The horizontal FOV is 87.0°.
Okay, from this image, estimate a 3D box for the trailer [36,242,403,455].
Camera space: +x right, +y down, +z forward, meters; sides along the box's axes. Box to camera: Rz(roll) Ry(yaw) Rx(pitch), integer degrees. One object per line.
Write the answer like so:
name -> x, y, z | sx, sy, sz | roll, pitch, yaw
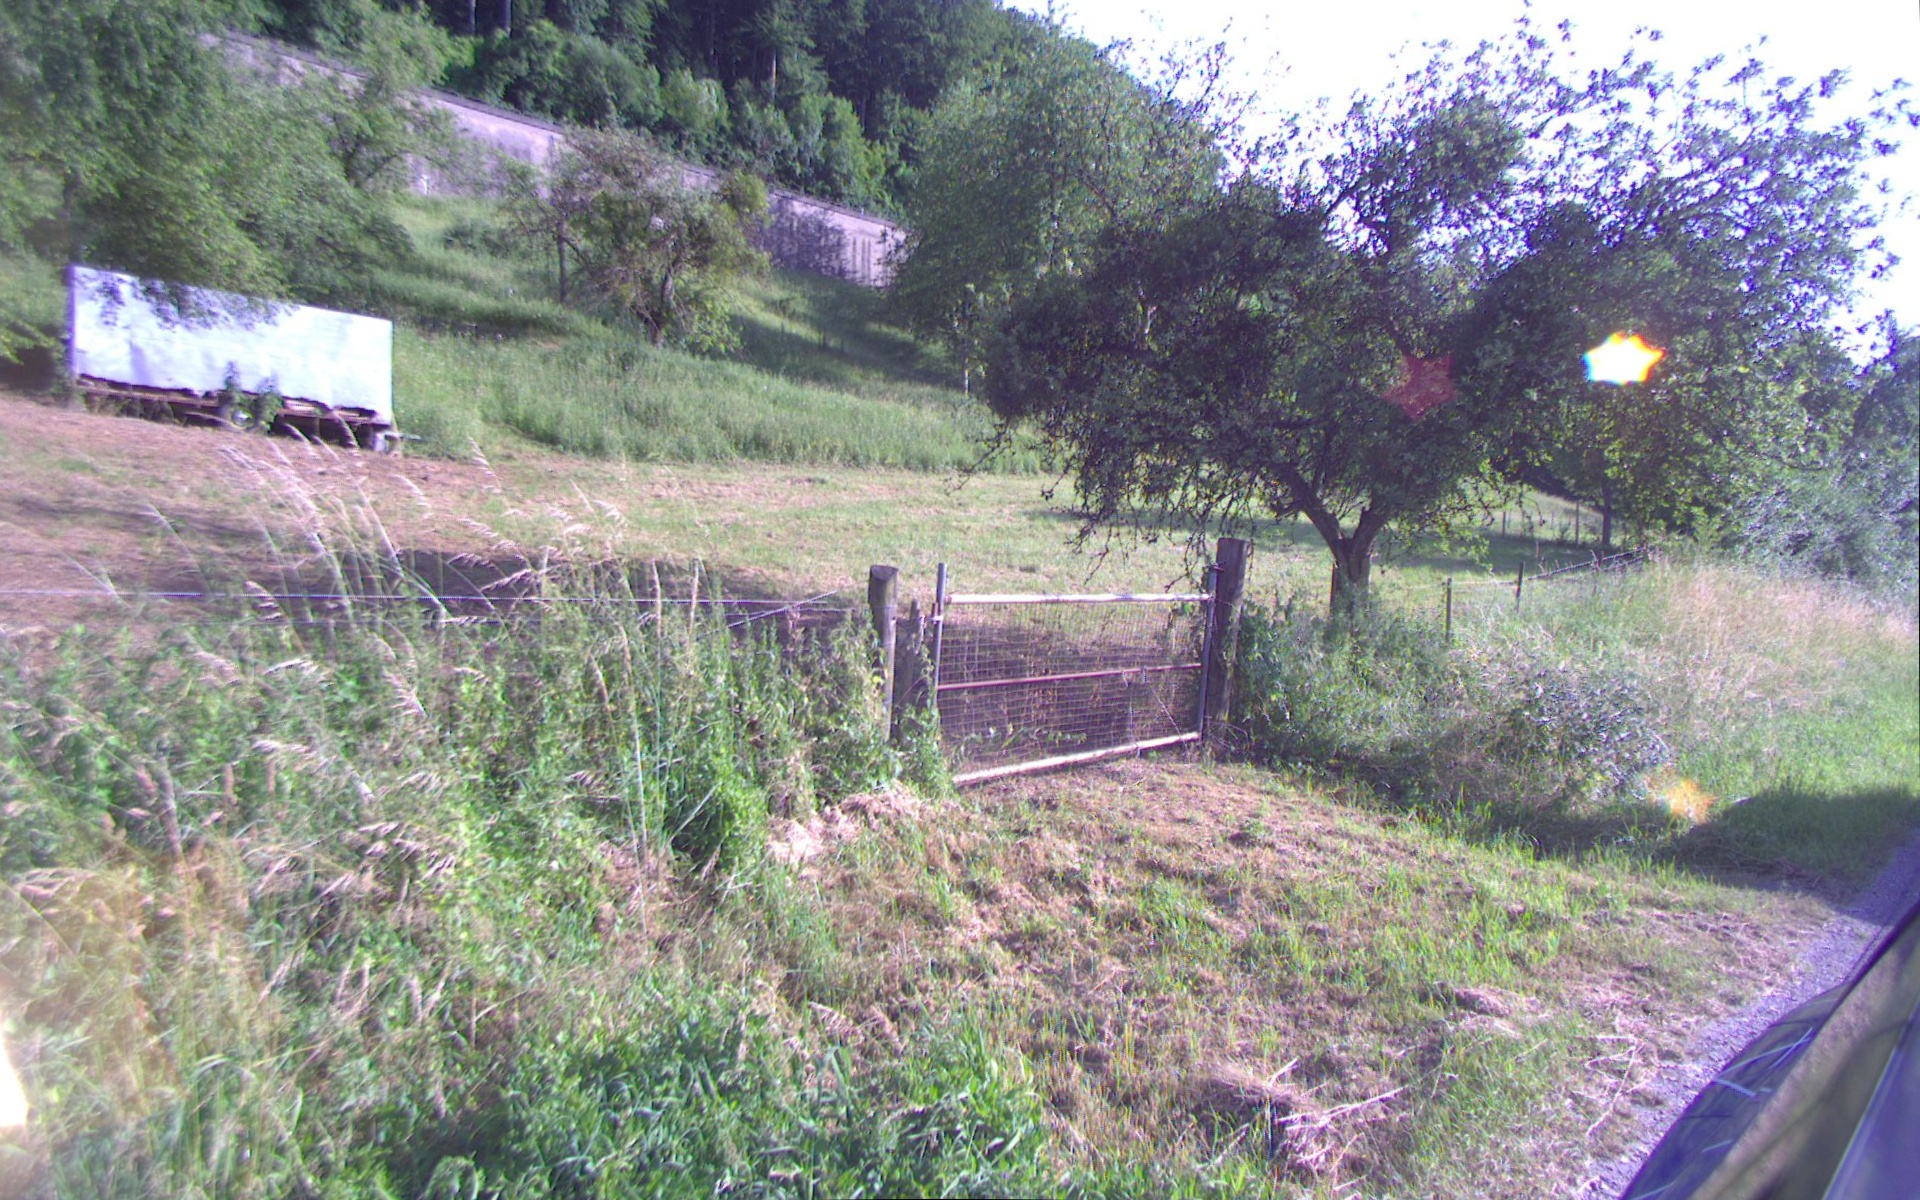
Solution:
trailer -> -13.604, -4.413, 18.846 | 5.159, 2.590, 2.155 | 4, 1, -44
